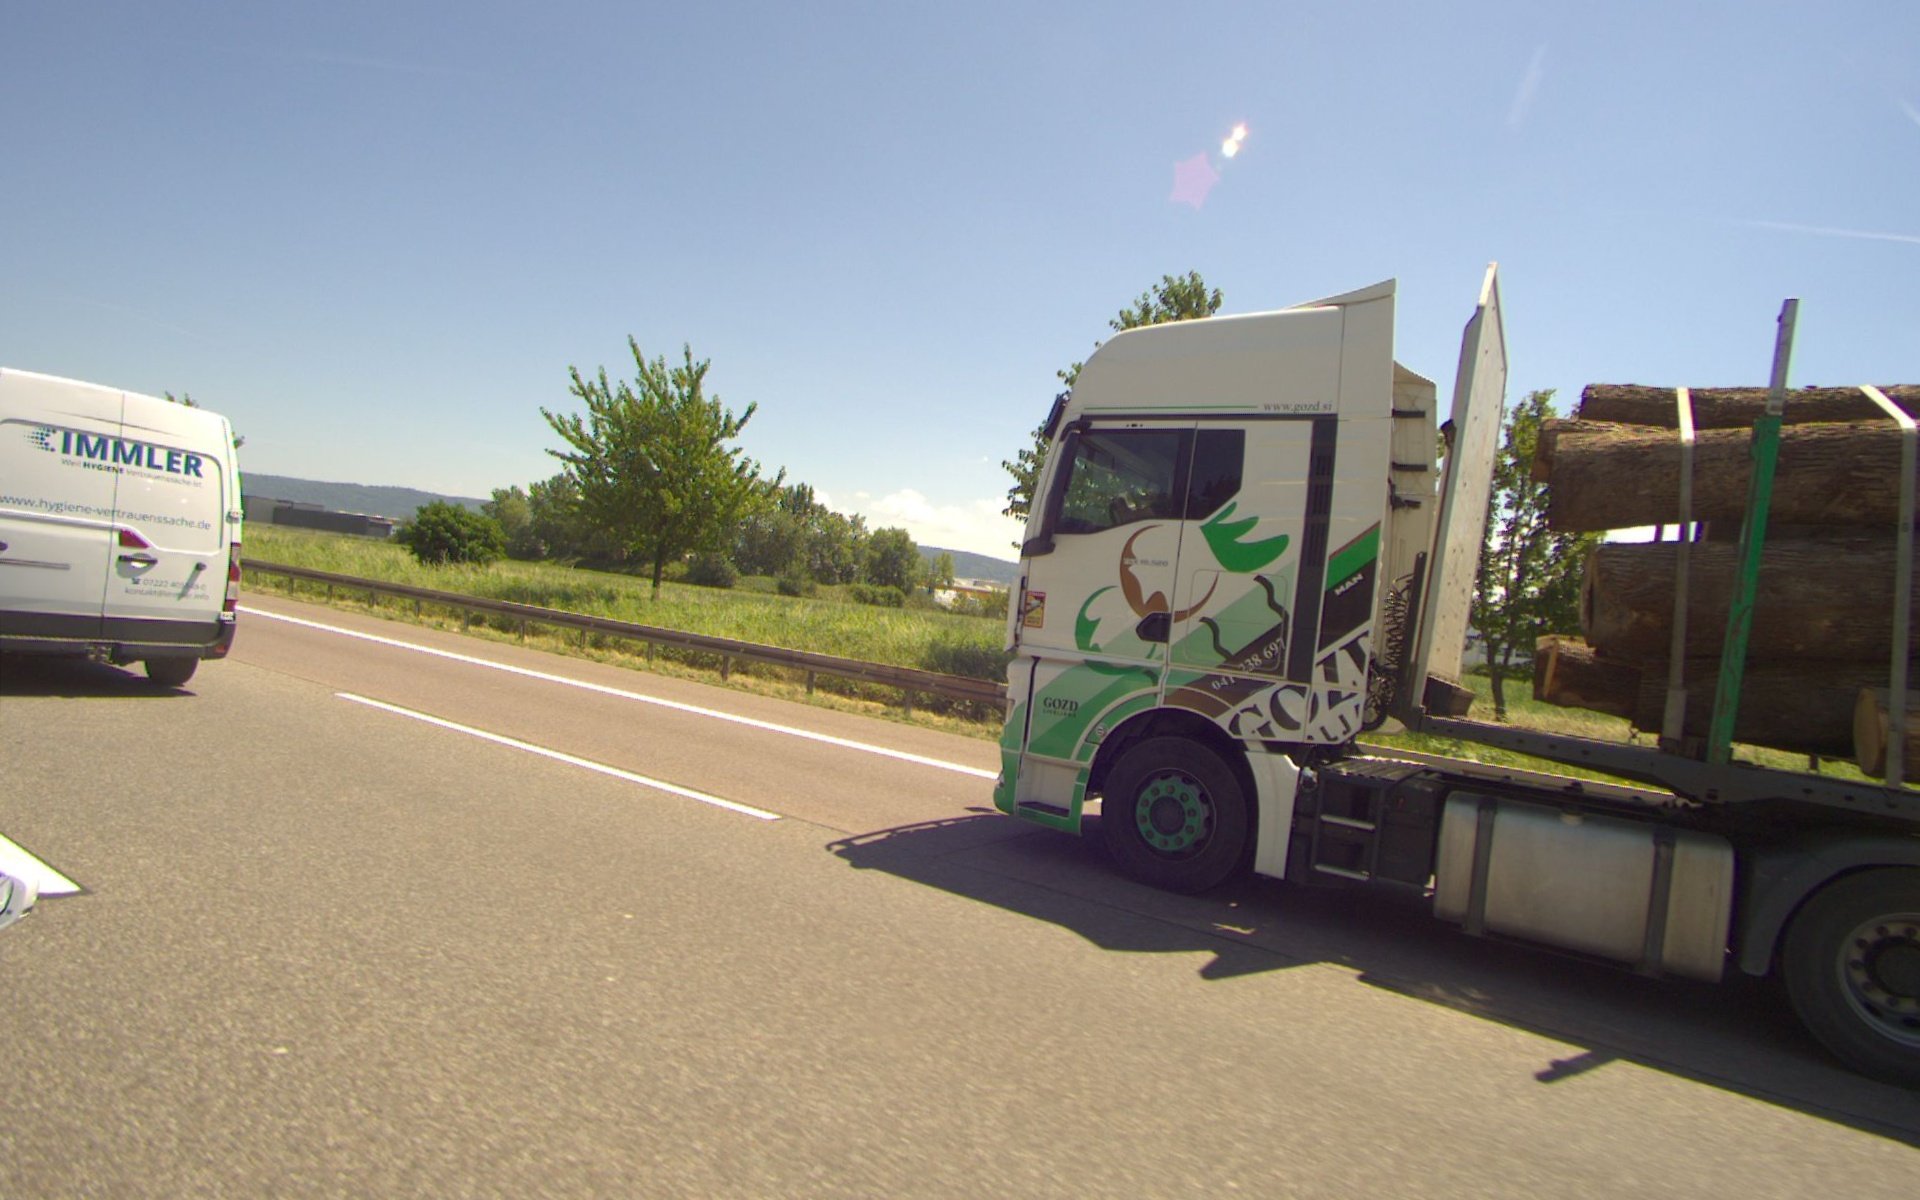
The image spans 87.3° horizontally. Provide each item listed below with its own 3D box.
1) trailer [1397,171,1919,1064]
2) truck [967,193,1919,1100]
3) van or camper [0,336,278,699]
[{"bbox_3d":[8.993,0.649,3.143,13.410,4.006,2.657,7,-1,32],"label":"trailer"},{"bbox_3d":[3.737,0.135,6.428,6.526,4.042,2.674,7,-1,32],"label":"truck"},{"bbox_3d":[-9.208,-0.832,9.577,5.886,2.653,2.061,7,-1,32],"label":"van or camper"}]
